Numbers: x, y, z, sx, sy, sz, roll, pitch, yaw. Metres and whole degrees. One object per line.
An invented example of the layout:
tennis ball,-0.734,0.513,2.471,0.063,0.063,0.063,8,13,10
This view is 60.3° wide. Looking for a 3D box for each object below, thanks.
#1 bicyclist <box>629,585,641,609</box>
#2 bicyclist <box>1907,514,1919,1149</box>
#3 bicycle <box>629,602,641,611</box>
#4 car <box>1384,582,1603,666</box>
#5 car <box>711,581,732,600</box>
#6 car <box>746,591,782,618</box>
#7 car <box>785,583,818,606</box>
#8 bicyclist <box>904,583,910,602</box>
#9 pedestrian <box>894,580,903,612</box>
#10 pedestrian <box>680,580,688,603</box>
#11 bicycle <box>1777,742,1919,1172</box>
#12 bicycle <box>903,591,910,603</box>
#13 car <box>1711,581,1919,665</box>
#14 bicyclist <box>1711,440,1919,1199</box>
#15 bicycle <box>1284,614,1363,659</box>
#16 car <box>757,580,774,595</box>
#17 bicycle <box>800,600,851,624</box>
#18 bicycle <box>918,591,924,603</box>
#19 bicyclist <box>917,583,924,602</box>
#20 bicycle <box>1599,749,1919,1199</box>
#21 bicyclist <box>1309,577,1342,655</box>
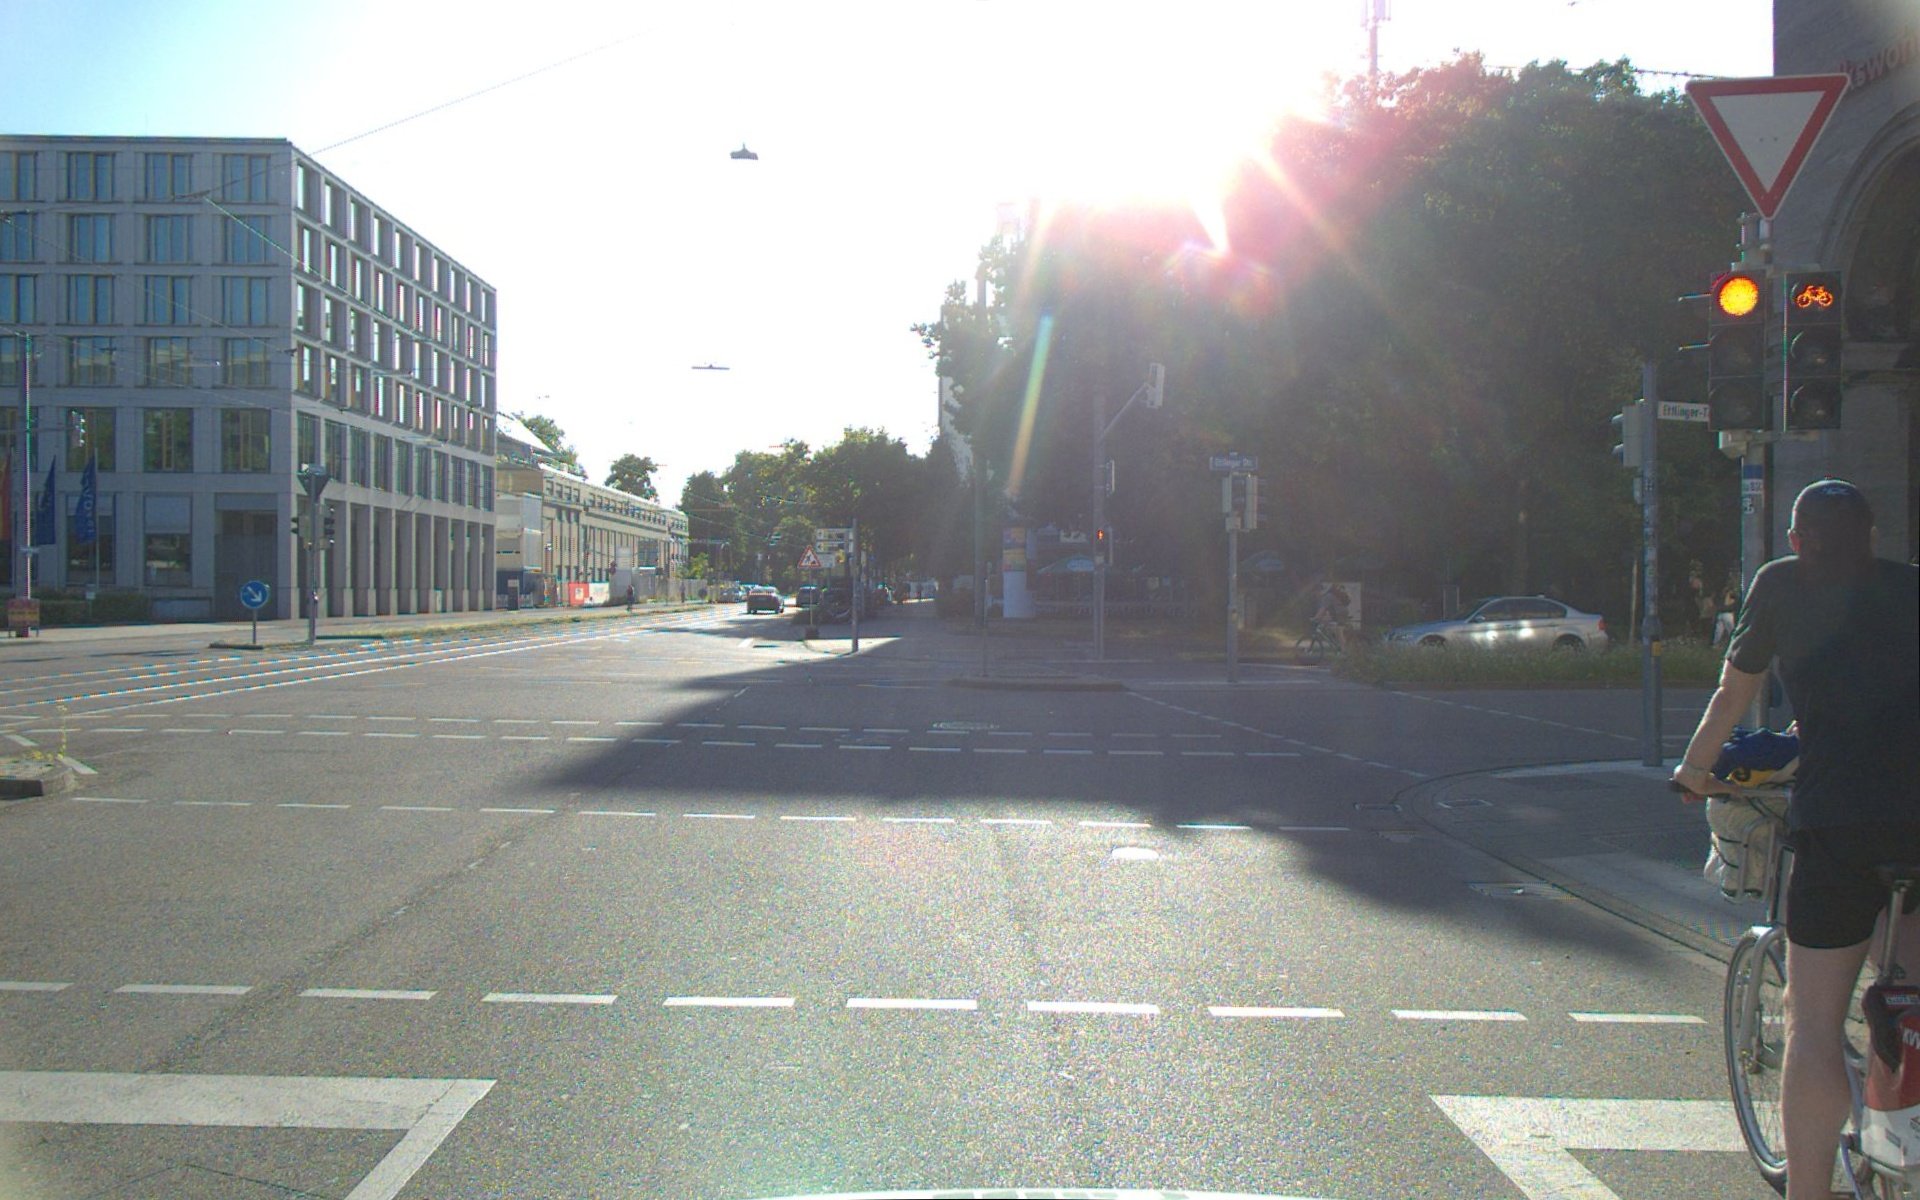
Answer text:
bicyclist,-18.939,-0.174,96.345,0.584,1.401,0.637,1,-1,-2
bicyclist,2.894,0.631,4.234,0.546,1.721,0.640,1,0,-2
bicycle,-18.933,0.364,96.337,0.491,0.524,1.257,1,0,-2
car,10.778,0.477,33.567,3.912,1.639,1.650,0,0,-1
car,-22.476,-0.907,156.114,1.659,1.748,4.244,1,0,-4
car,-11.064,0.258,93.488,1.627,1.481,4.430,1,0,-2
car,-12.166,-0.447,127.009,1.853,1.592,4.808,3,1,1
bicyclist,-4.801,-0.670,149.106,0.558,1.721,0.699,0,0,-1
pedestrian,-3.626,-0.228,97.638,0.454,1.845,0.502,0,0,-5
pedestrian,-25.044,-0.774,150.043,0.660,2.049,0.751,1,-1,-3
bicycle,2.869,1.004,4.342,0.523,1.096,1.750,1,0,-2
bicycle,-4.798,-0.267,149.070,0.563,1.096,1.830,0,0,-1
car,17.540,0.449,33.651,3.770,1.639,1.650,0,0,-1
bicyclist,2.100,0.582,3.736,0.547,1.830,0.550,1,0,1
bicycle,7.978,0.796,36.316,1.631,0.980,0.534,0,0,5
car,-22.838,-1.447,194.363,1.659,1.748,4.244,1,0,-4
bicycle,-5.484,0.505,67.387,1.976,0.907,0.650,-2,-1,27
bicycle,-3.539,-0.244,149.201,0.563,1.096,1.830,0,0,-1
bicyclist,-3.553,-0.658,149.222,0.558,1.721,0.699,0,0,-1
bicycle,2.082,0.985,3.894,0.505,1.096,1.728,1,0,1
bicyclist,8.016,0.348,36.295,0.630,1.712,0.507,0,0,5
